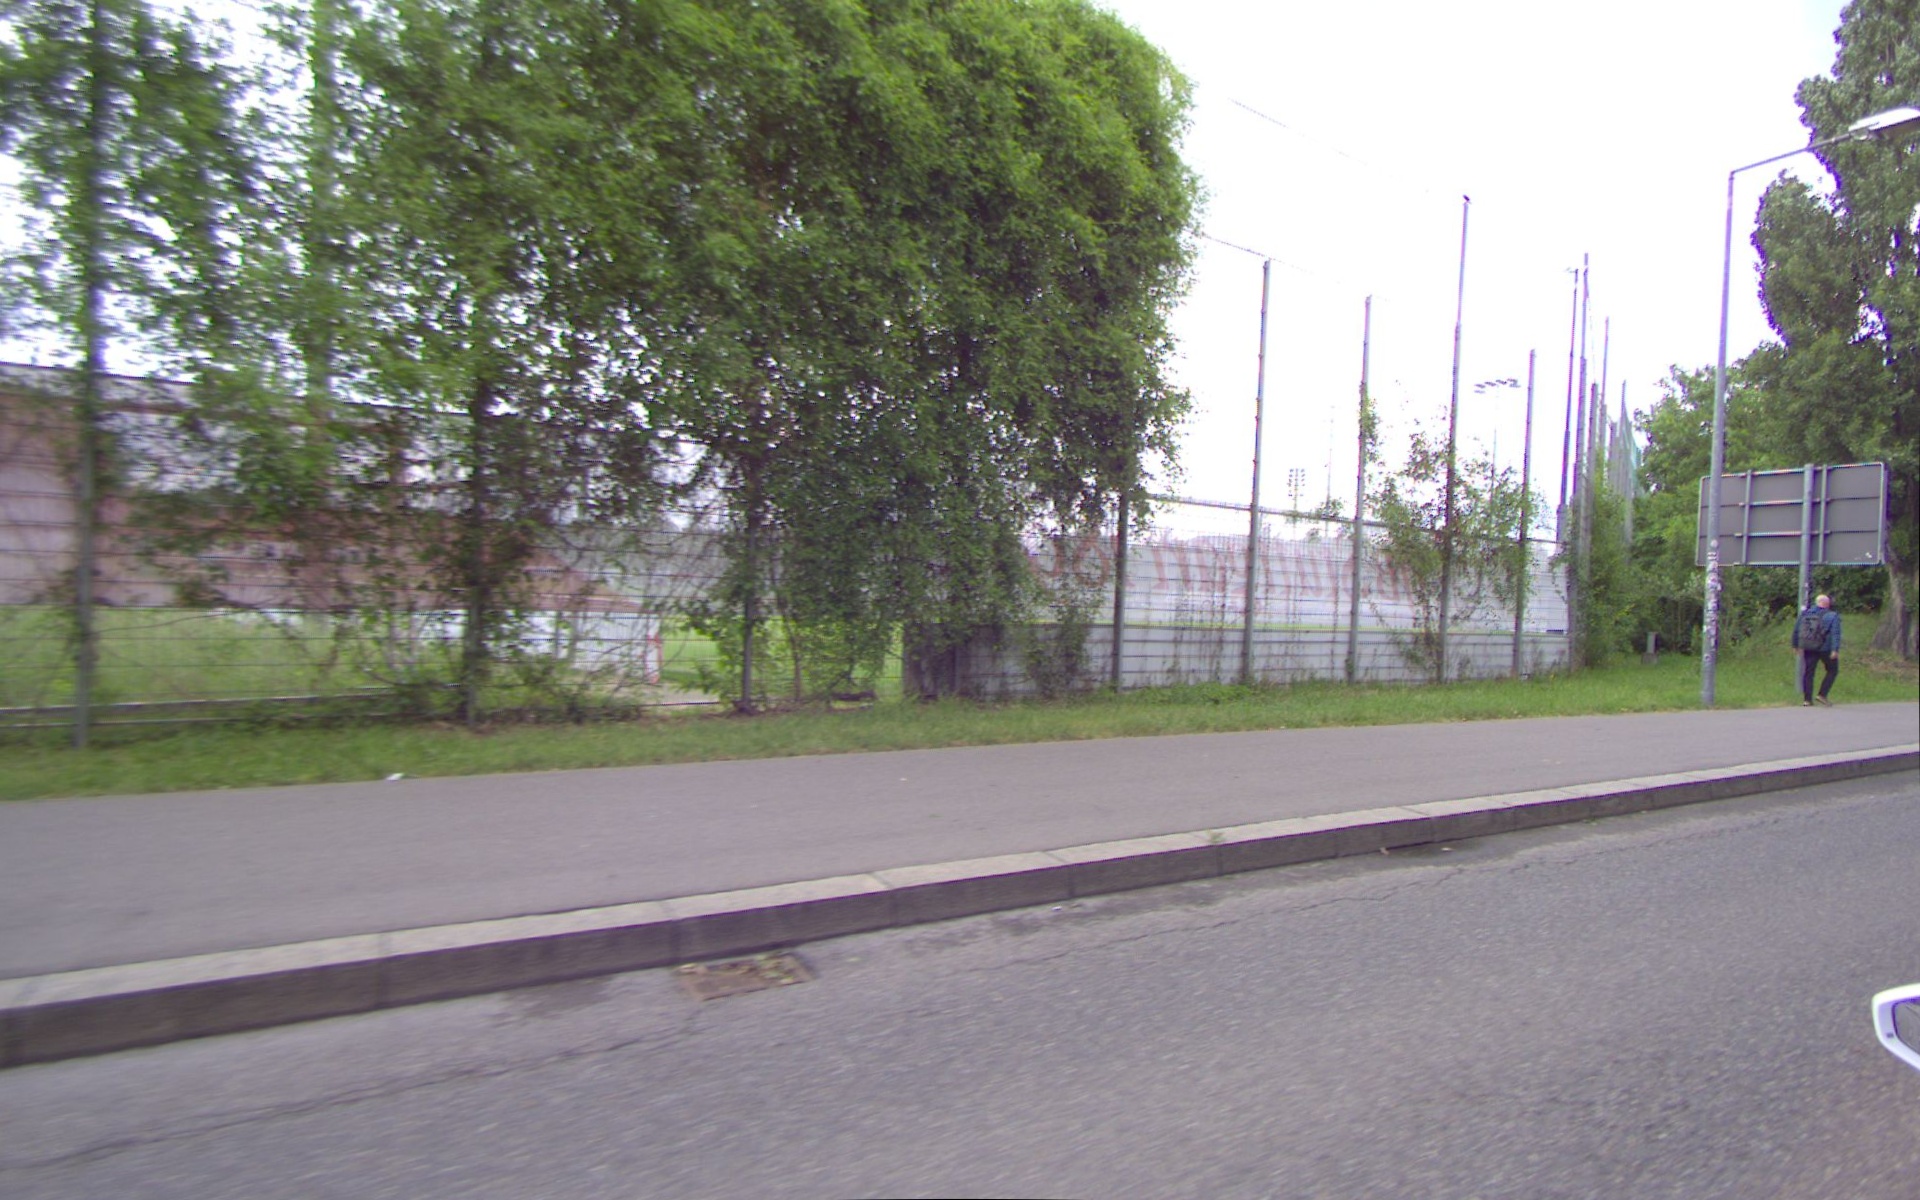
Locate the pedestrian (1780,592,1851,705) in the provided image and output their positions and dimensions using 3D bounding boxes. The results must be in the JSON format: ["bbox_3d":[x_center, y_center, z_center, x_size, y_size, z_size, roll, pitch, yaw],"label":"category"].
[{"bbox_3d":[14.137,0.770,16.627,0.793,1.805,0.916,1,1,37],"label":"pedestrian"}]
